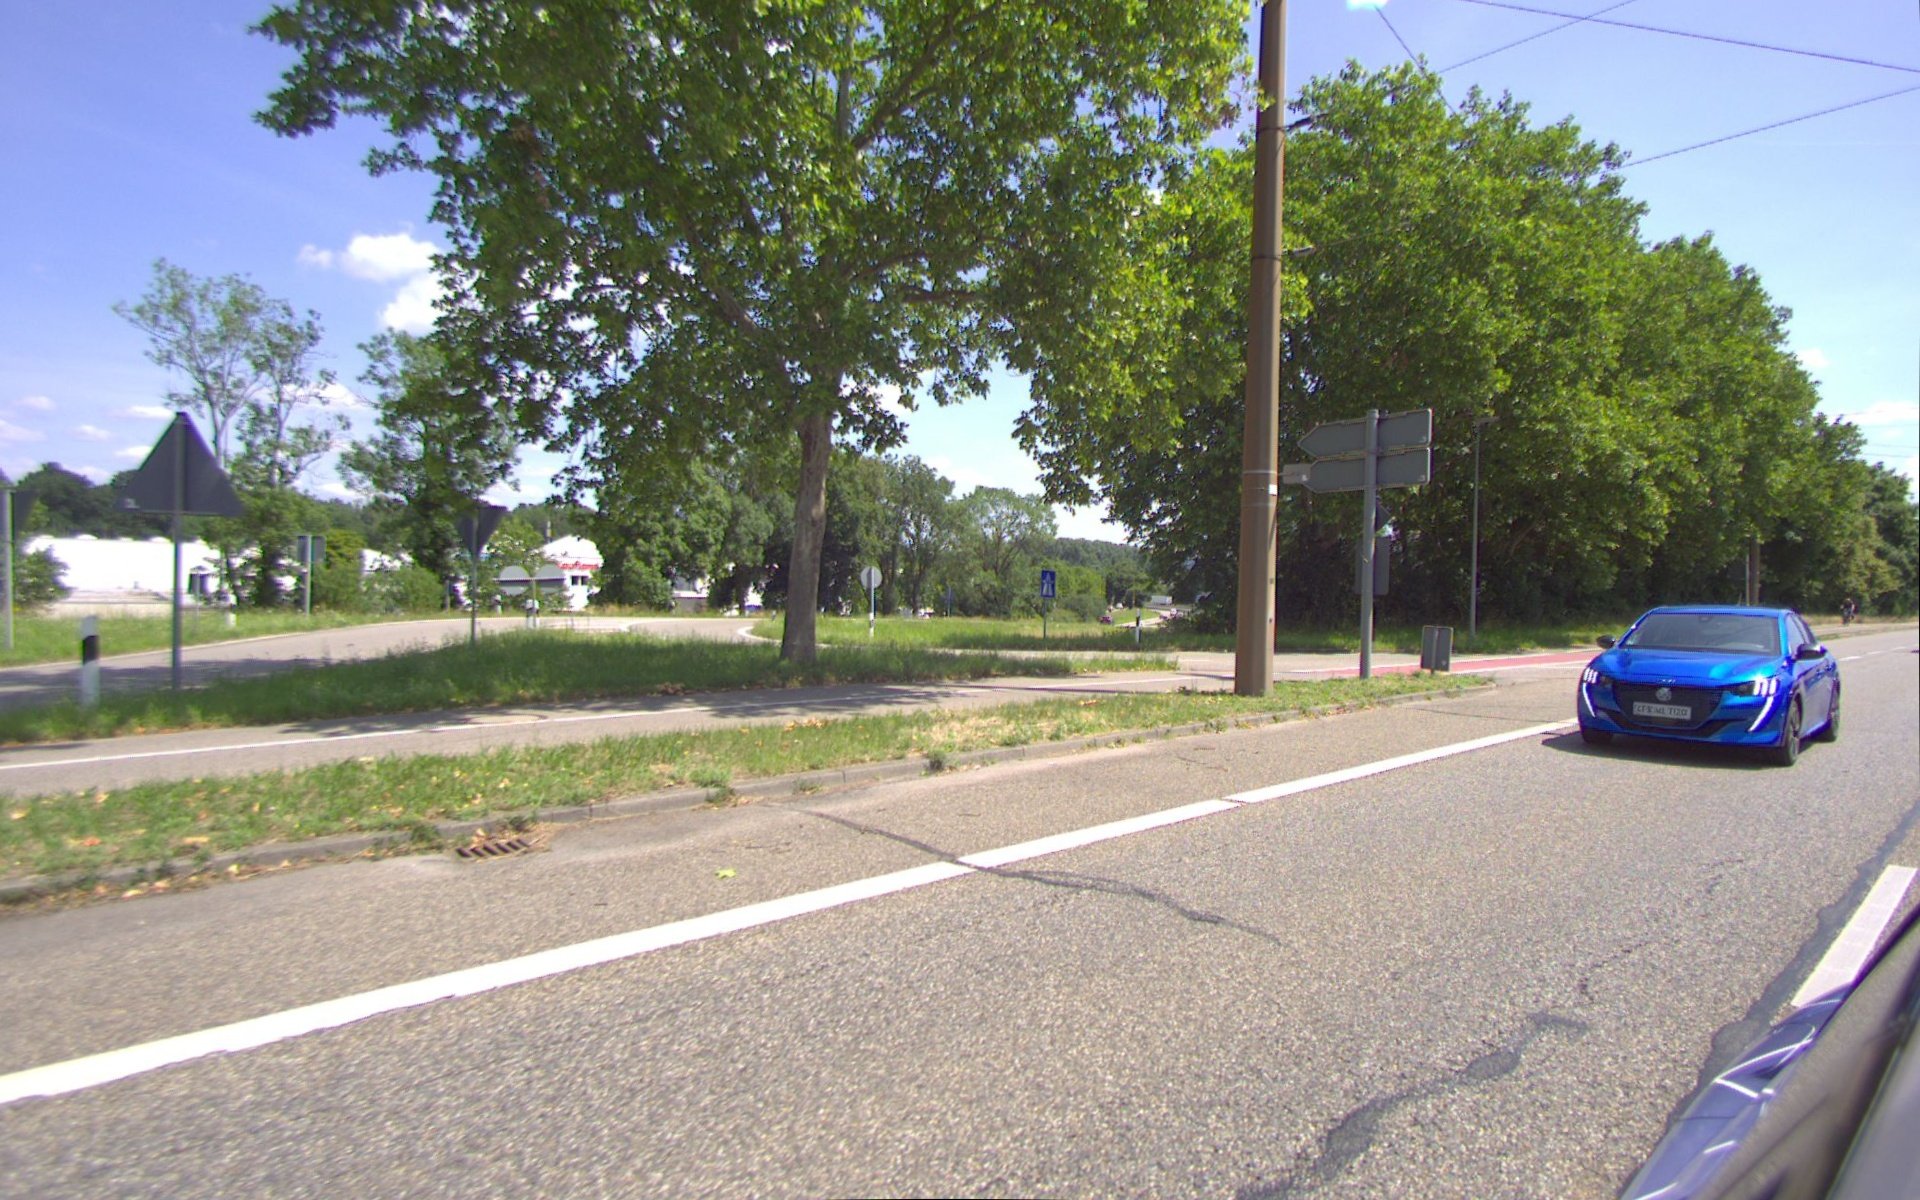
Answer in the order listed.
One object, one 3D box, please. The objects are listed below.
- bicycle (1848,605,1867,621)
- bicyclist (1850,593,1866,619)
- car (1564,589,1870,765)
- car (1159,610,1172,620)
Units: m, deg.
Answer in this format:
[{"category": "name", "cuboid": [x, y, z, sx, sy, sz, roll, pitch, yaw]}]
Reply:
[{"category": "bicycle", "cuboid": [54.166, 0.792, 61.046, 1.859, 0.921, 0.607, 0, 1, -41]}, {"category": "bicyclist", "cuboid": [54.114, 0.365, 60.986, 0.930, 1.492, 0.607, 0, 1, -41]}, {"category": "car", "cuboid": [8.161, 0.651, 10.744, 4.390, 1.490, 1.769, 0, 0, -42]}, {"category": "car", "cuboid": [42.309, 3.069, 207.905, 1.975, 2.038, 4.534, 2, 1, 20]}]
